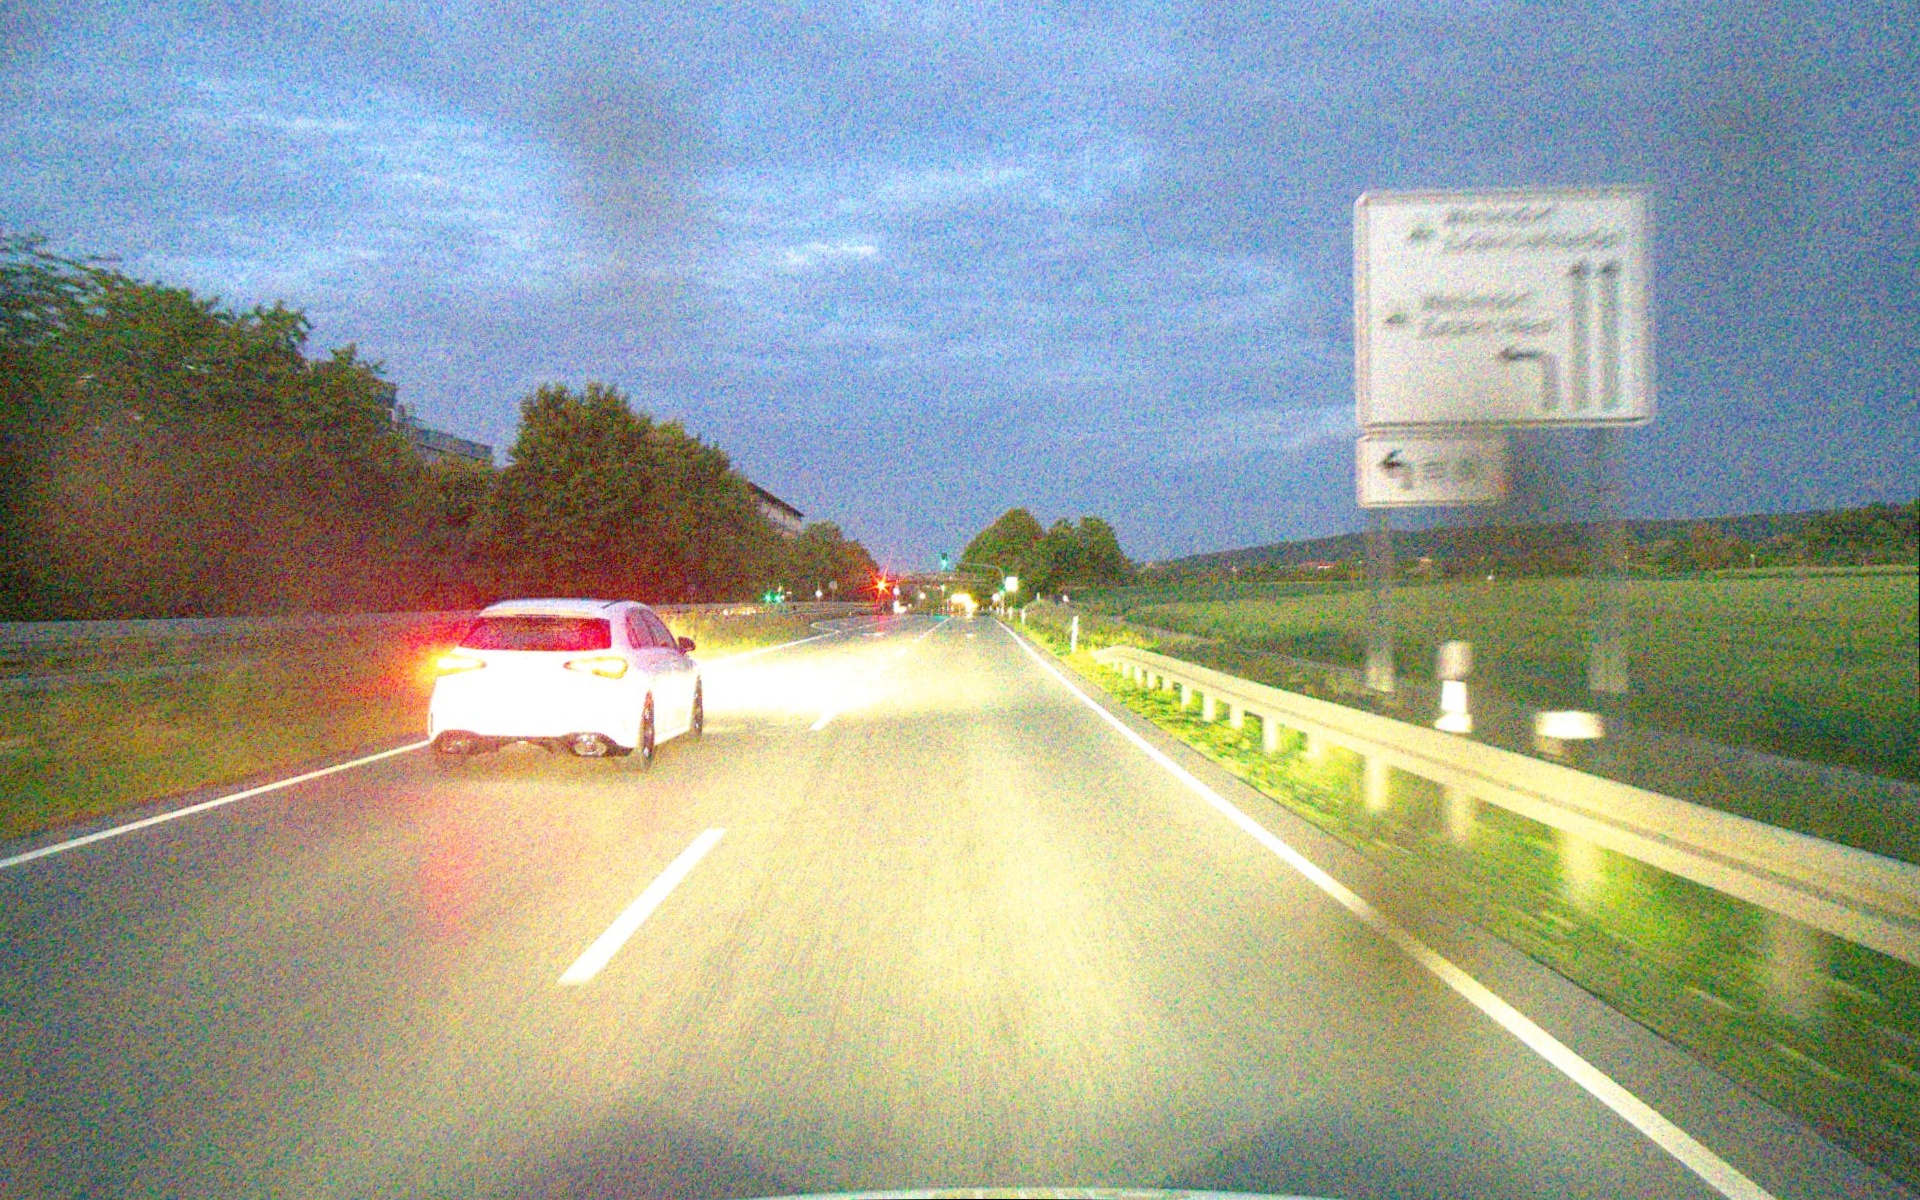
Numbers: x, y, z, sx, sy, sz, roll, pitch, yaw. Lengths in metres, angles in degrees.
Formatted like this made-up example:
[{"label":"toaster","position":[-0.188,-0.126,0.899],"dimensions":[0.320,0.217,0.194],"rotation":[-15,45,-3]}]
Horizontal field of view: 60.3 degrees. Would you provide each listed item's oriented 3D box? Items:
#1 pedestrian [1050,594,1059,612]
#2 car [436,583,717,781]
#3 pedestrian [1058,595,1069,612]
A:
[{"label":"pedestrian","position":[10.087,0.306,176.457],"dimensions":[0.903,1.824,1.106],"rotation":[1,0,0]},{"label":"car","position":[-3.324,0.635,15.183],"dimensions":[1.609,1.516,4.578],"rotation":[1,0,-2]},{"label":"pedestrian","position":[11.021,0.368,176.409],"dimensions":[1.068,1.753,1.260],"rotation":[1,-1,0]}]
